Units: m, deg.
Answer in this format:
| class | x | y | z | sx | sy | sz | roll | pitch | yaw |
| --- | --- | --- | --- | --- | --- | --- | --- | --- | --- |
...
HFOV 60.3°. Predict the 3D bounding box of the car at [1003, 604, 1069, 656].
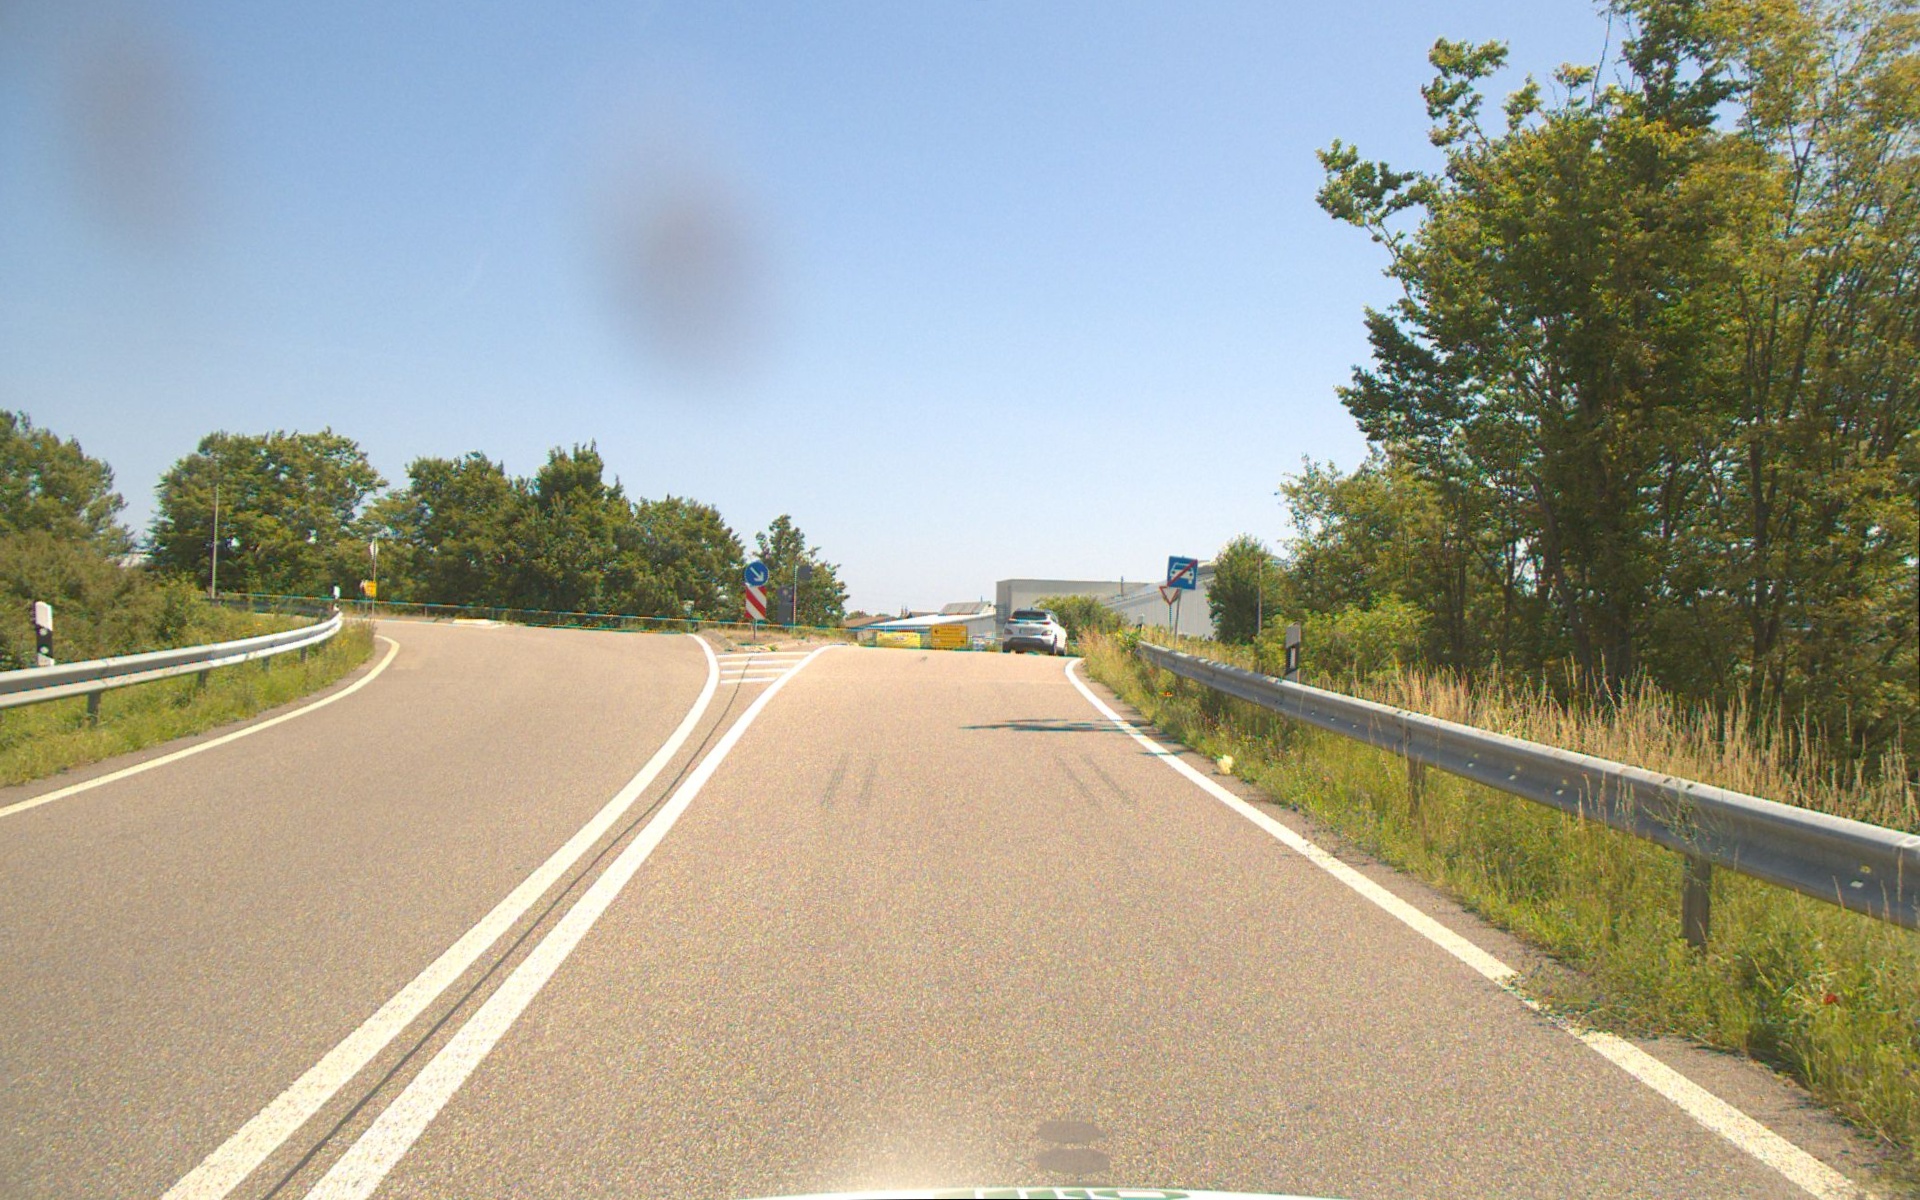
| class | x | y | z | sx | sy | sz | roll | pitch | yaw |
| --- | --- | --- | --- | --- | --- | --- | --- | --- | --- |
| car | 2.646 | 1.051 | 56.962 | 1.770 | 1.721 | 4.003 | 0 | -2 | 10 |
